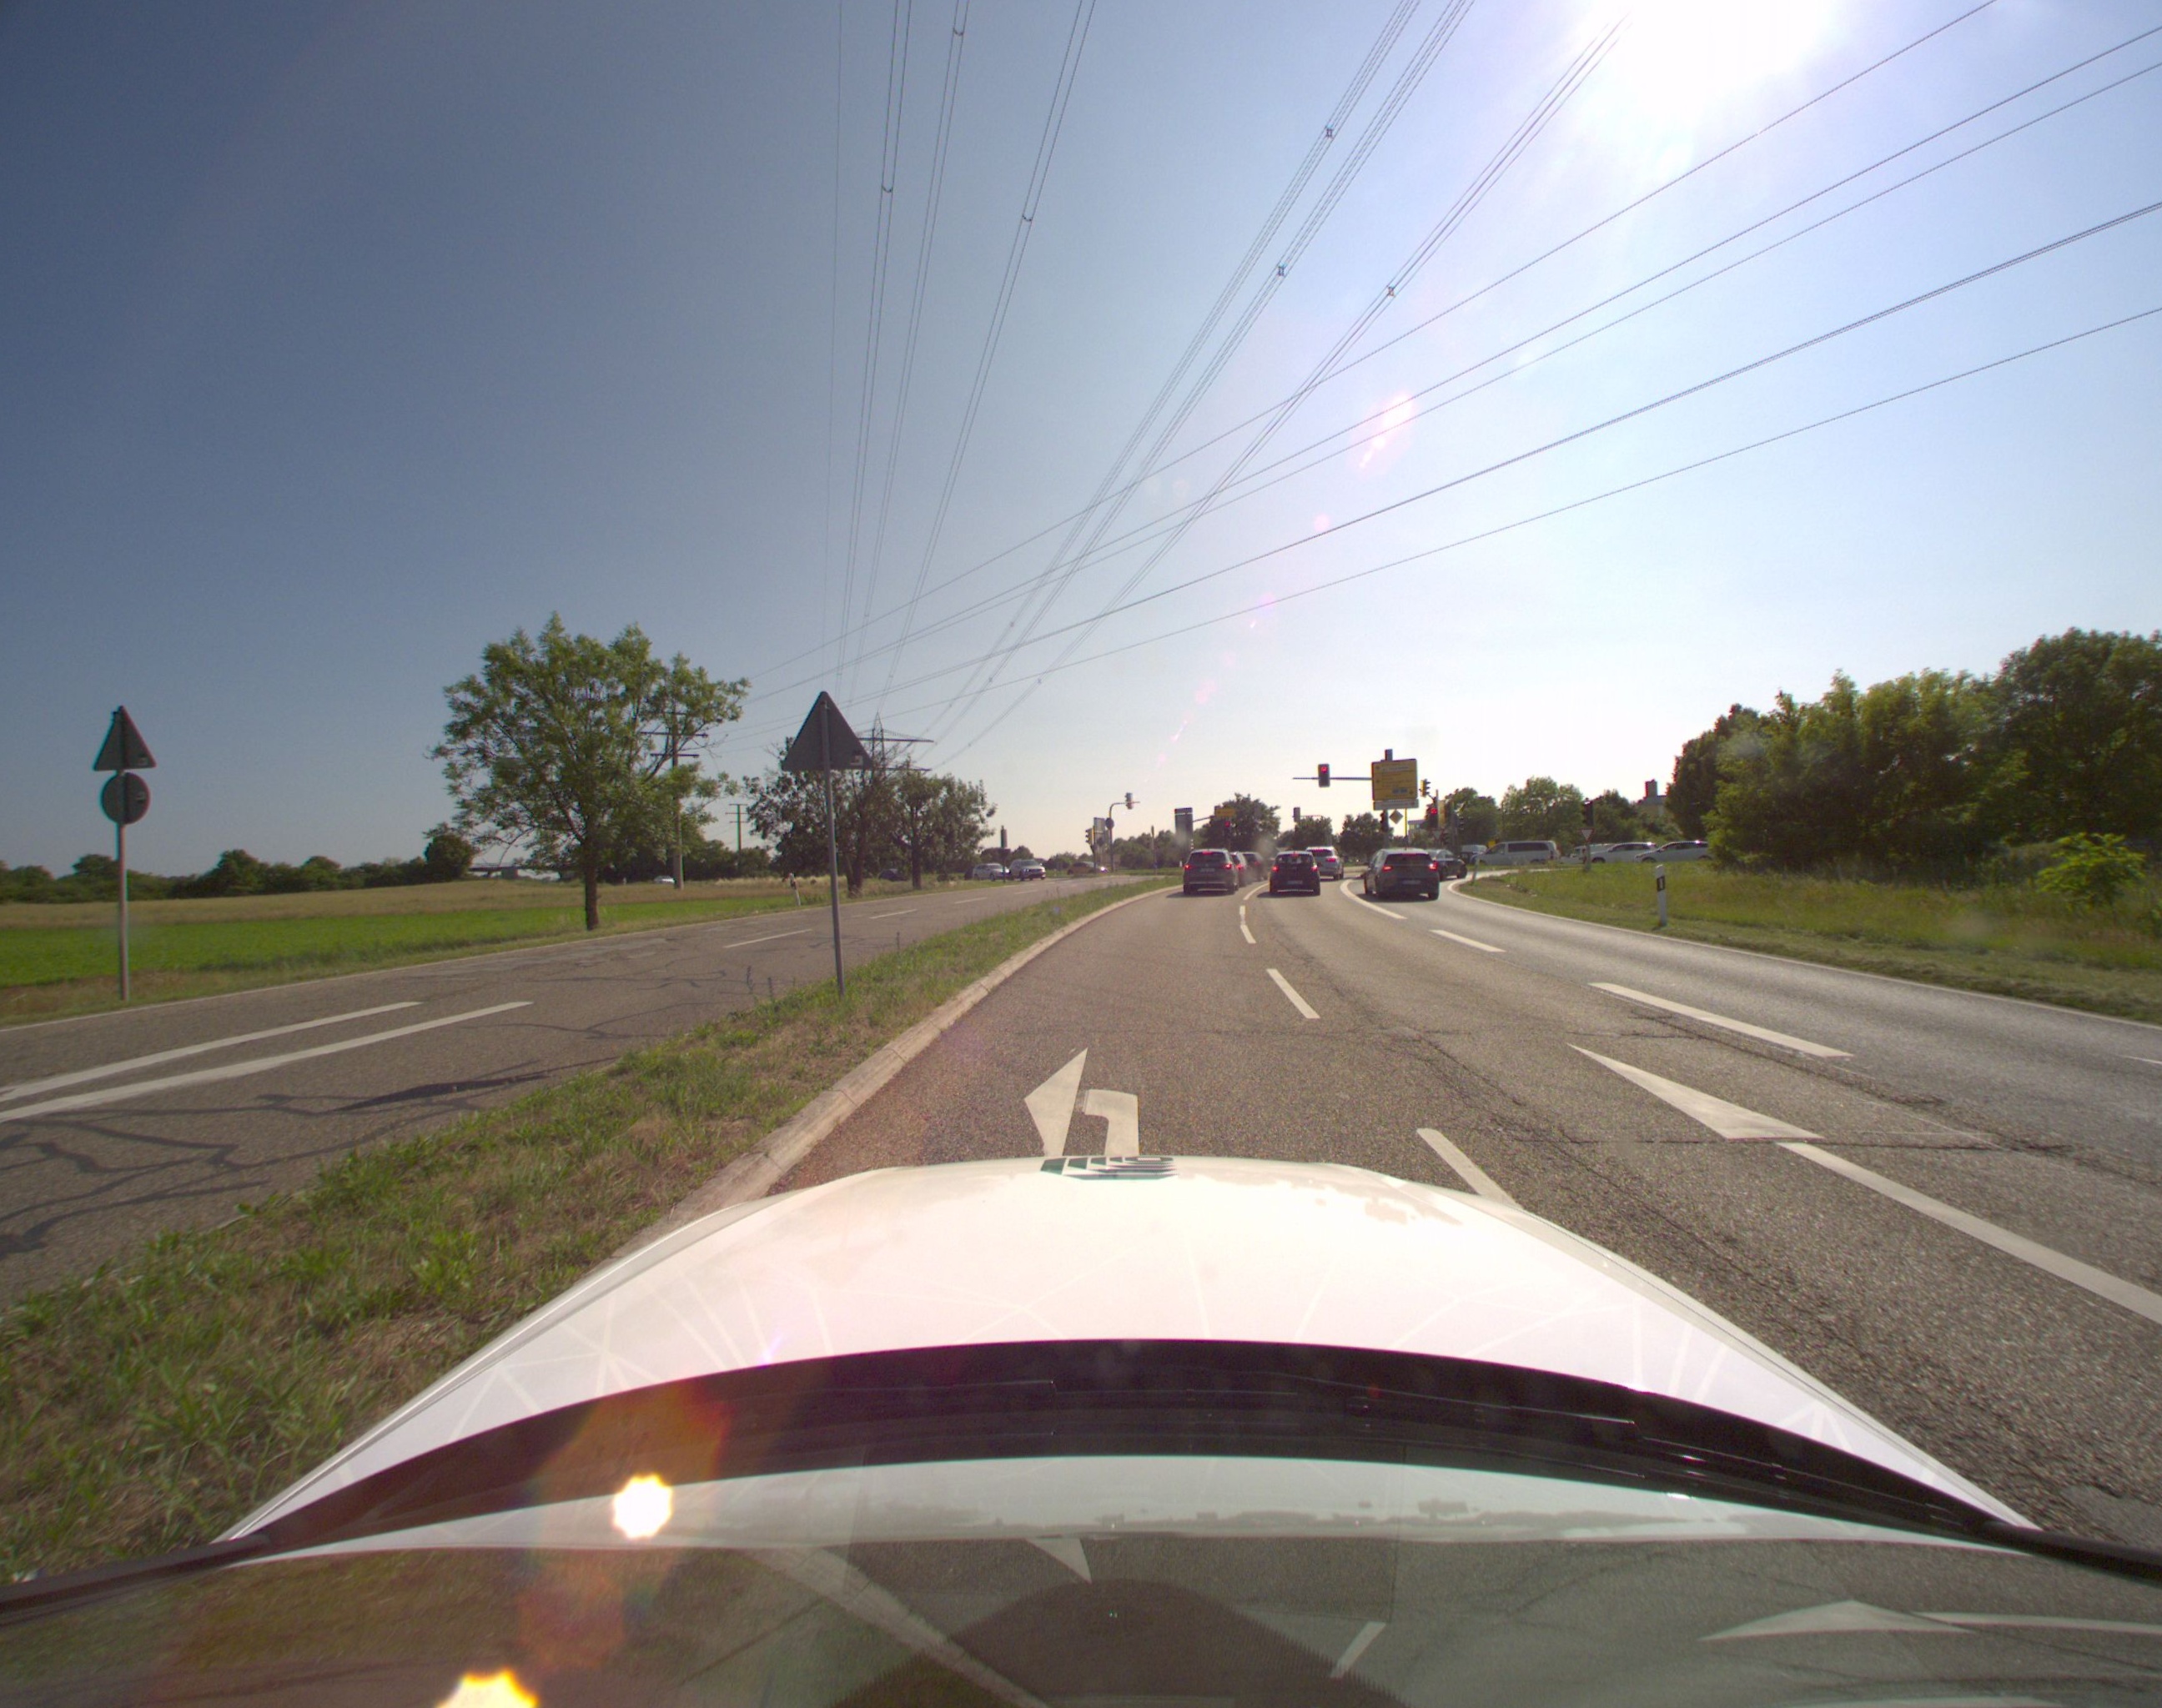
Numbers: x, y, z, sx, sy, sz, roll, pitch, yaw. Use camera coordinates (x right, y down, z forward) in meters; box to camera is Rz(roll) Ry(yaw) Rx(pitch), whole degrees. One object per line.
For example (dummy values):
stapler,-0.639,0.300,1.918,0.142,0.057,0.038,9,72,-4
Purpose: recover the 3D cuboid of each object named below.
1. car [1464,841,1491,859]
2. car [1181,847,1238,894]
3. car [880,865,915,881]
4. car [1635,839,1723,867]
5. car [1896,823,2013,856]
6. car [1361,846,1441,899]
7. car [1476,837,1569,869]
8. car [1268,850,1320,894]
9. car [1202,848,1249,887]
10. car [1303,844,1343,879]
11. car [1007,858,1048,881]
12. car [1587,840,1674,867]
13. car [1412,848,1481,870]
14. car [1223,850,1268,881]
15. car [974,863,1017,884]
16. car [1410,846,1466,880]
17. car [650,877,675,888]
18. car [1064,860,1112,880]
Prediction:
car,49.578,-0.458,101.773,1.911,2.137,4.668,0,0,42
car,4.714,0.567,29.503,1.730,1.569,3.637,-2,0,13
car,-20.566,2.115,91.235,3.949,1.651,1.831,-2,-1,41
car,33.654,-0.029,45.842,3.862,1.465,1.734,-2,-1,40
car,44.541,-0.706,41.638,3.830,1.519,1.819,-2,-1,40
car,10.020,0.527,25.767,1.760,1.517,4.114,-1,0,13
car,27.798,-0.056,51.354,4.884,1.918,2.013,0,0,39
car,7.347,0.591,28.255,1.621,1.448,3.306,-1,0,13
car,6.220,0.566,34.808,1.729,1.569,3.638,0,0,14
car,11.991,0.364,40.197,1.619,1.677,3.768,-1,0,20
car,-4.085,1.167,61.600,1.822,1.651,3.969,-1,-1,-23
car,33.969,-0.005,50.392,4.279,1.519,1.819,-2,-1,39
car,25.604,0.355,57.180,4.051,1.416,1.727,-2,-1,42
car,8.261,0.546,40.685,1.728,1.484,3.641,0,0,19
car,-7.108,1.600,67.498,1.828,1.651,3.955,-1,-1,-36
car,16.164,0.380,36.785,1.625,1.385,4.026,-2,0,33
car,-65.339,4.513,127.072,4.700,1.651,1.831,-2,-1,41
car,0.612,1.403,71.777,3.949,1.651,1.831,-2,-1,41
